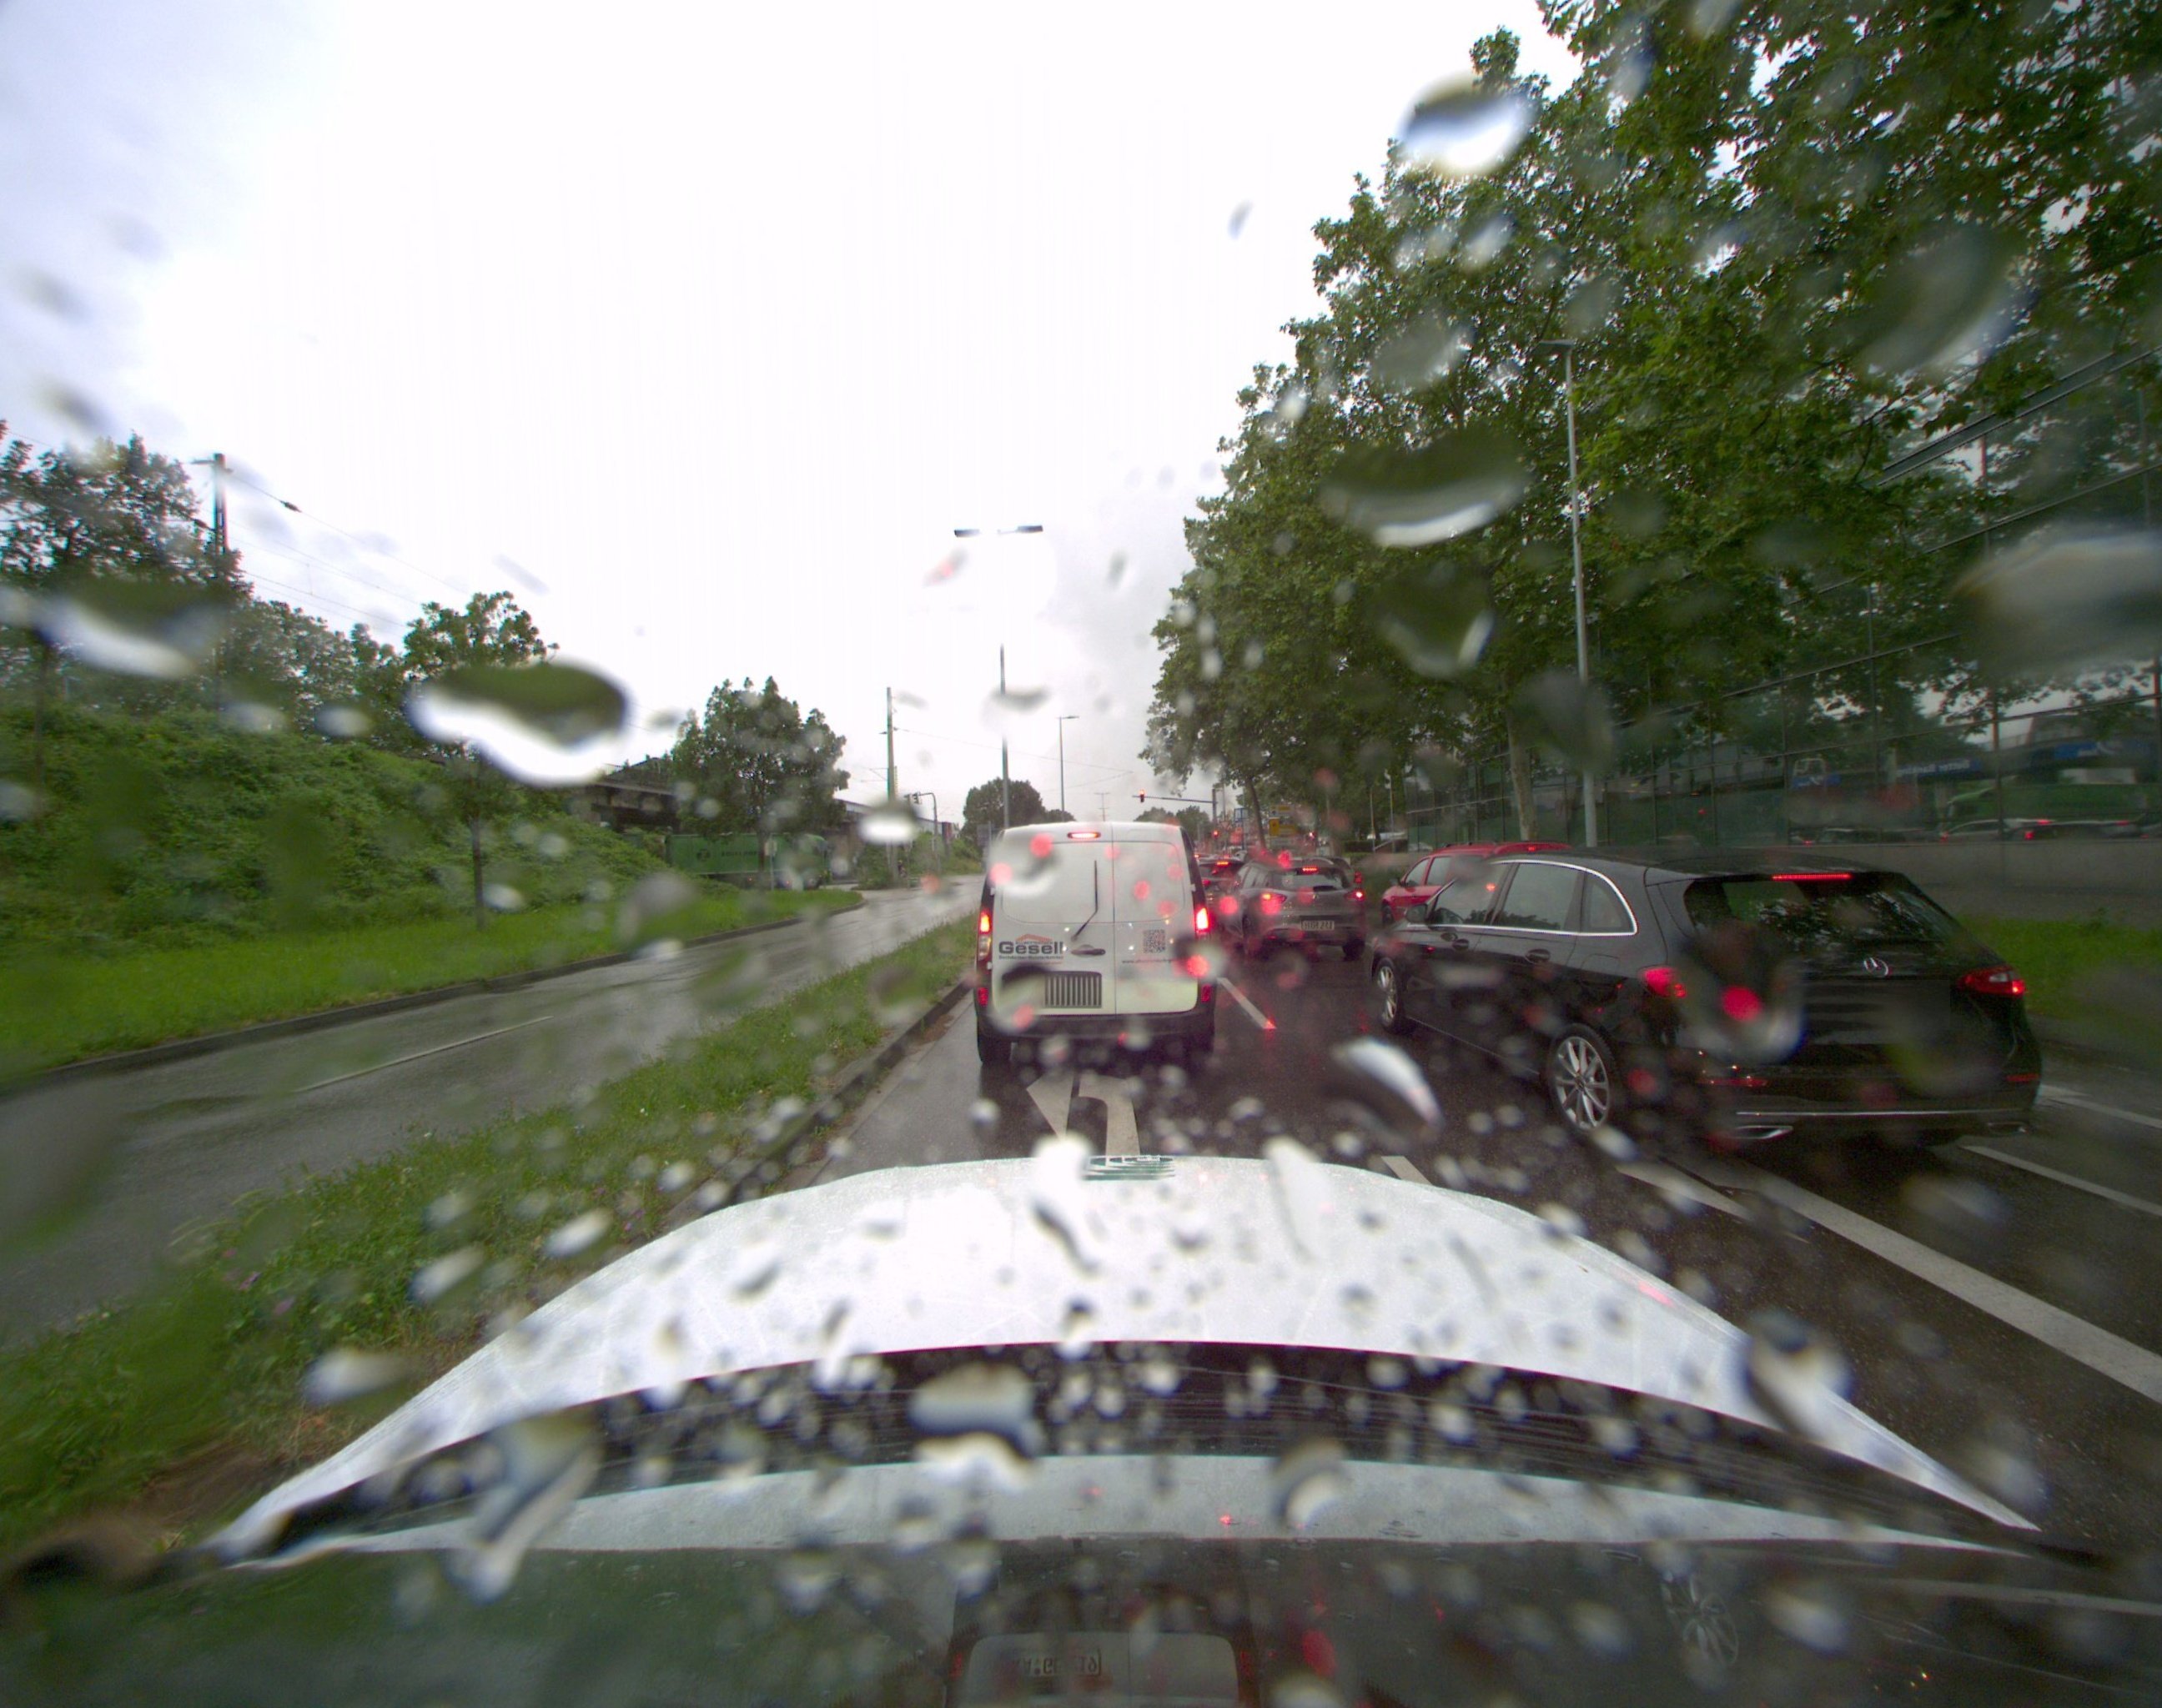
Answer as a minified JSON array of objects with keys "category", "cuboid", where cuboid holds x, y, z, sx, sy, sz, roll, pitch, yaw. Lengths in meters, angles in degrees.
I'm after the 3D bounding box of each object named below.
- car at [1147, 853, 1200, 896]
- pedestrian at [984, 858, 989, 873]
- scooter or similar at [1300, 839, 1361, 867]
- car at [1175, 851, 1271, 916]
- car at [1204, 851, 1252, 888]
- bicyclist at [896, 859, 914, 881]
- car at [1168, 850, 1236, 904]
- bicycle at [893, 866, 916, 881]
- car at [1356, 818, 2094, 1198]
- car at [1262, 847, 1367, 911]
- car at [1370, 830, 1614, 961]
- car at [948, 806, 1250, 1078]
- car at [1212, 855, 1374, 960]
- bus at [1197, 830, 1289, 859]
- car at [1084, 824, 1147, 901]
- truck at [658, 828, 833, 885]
[{"category":"car","cuboid":[3.750,0.811,33.566,1.847,1.650,3.844,-1,-1,2]},{"category":"pedestrian","cuboid":[-11.248,1.366,96.552,0.541,1.716,0.563,0,-1,-2]},{"category":"scooter or similar","cuboid":[23.443,-0.075,76.678,1.905,2.446,5.257,-1,0,-39]},{"category":"car","cuboid":[3.498,0.668,20.674,1.847,1.460,3.844,-1,0,2]},{"category":"car","cuboid":[6.900,0.710,38.606,1.702,1.650,3.844,-1,-1,2]},{"category":"bicyclist","cuboid":[-12.127,1.083,55.999,1.045,1.450,0.723,-2,0,-23]},{"category":"car","cuboid":[4.055,0.726,27.893,1.847,1.649,3.844,-1,0,2]},{"category":"bicycle","cuboid":[-12.140,1.329,56.011,1.045,0.952,2.866,-2,0,-22]},{"category":"car","cuboid":[3.373,0.643,5.441,1.741,1.554,4.091,-1,0,1]},{"category":"car","cuboid":[6.334,0.605,22.552,1.869,1.613,4.002,0,0,2]},{"category":"car","cuboid":[6.137,0.572,12.788,1.705,1.694,4.272,0,-1,1]},{"category":"car","cuboid":[0.189,0.585,7.764,1.986,1.776,4.587,-1,0,2]},{"category":"car","cuboid":[3.235,0.743,13.144,1.677,1.408,3.844,0,0,1]},{"category":"bus","cuboid":[21.884,-1.346,110.583,11.926,3.423,2.316,-2,0,1]},{"category":"car","cuboid":[1.095,0.255,26.523,1.847,2.296,3.844,-1,0,2]},{"category":"truck","cuboid":[-21.349,0.073,52.308,10.105,3.371,2.322,-2,0,-35]}]
